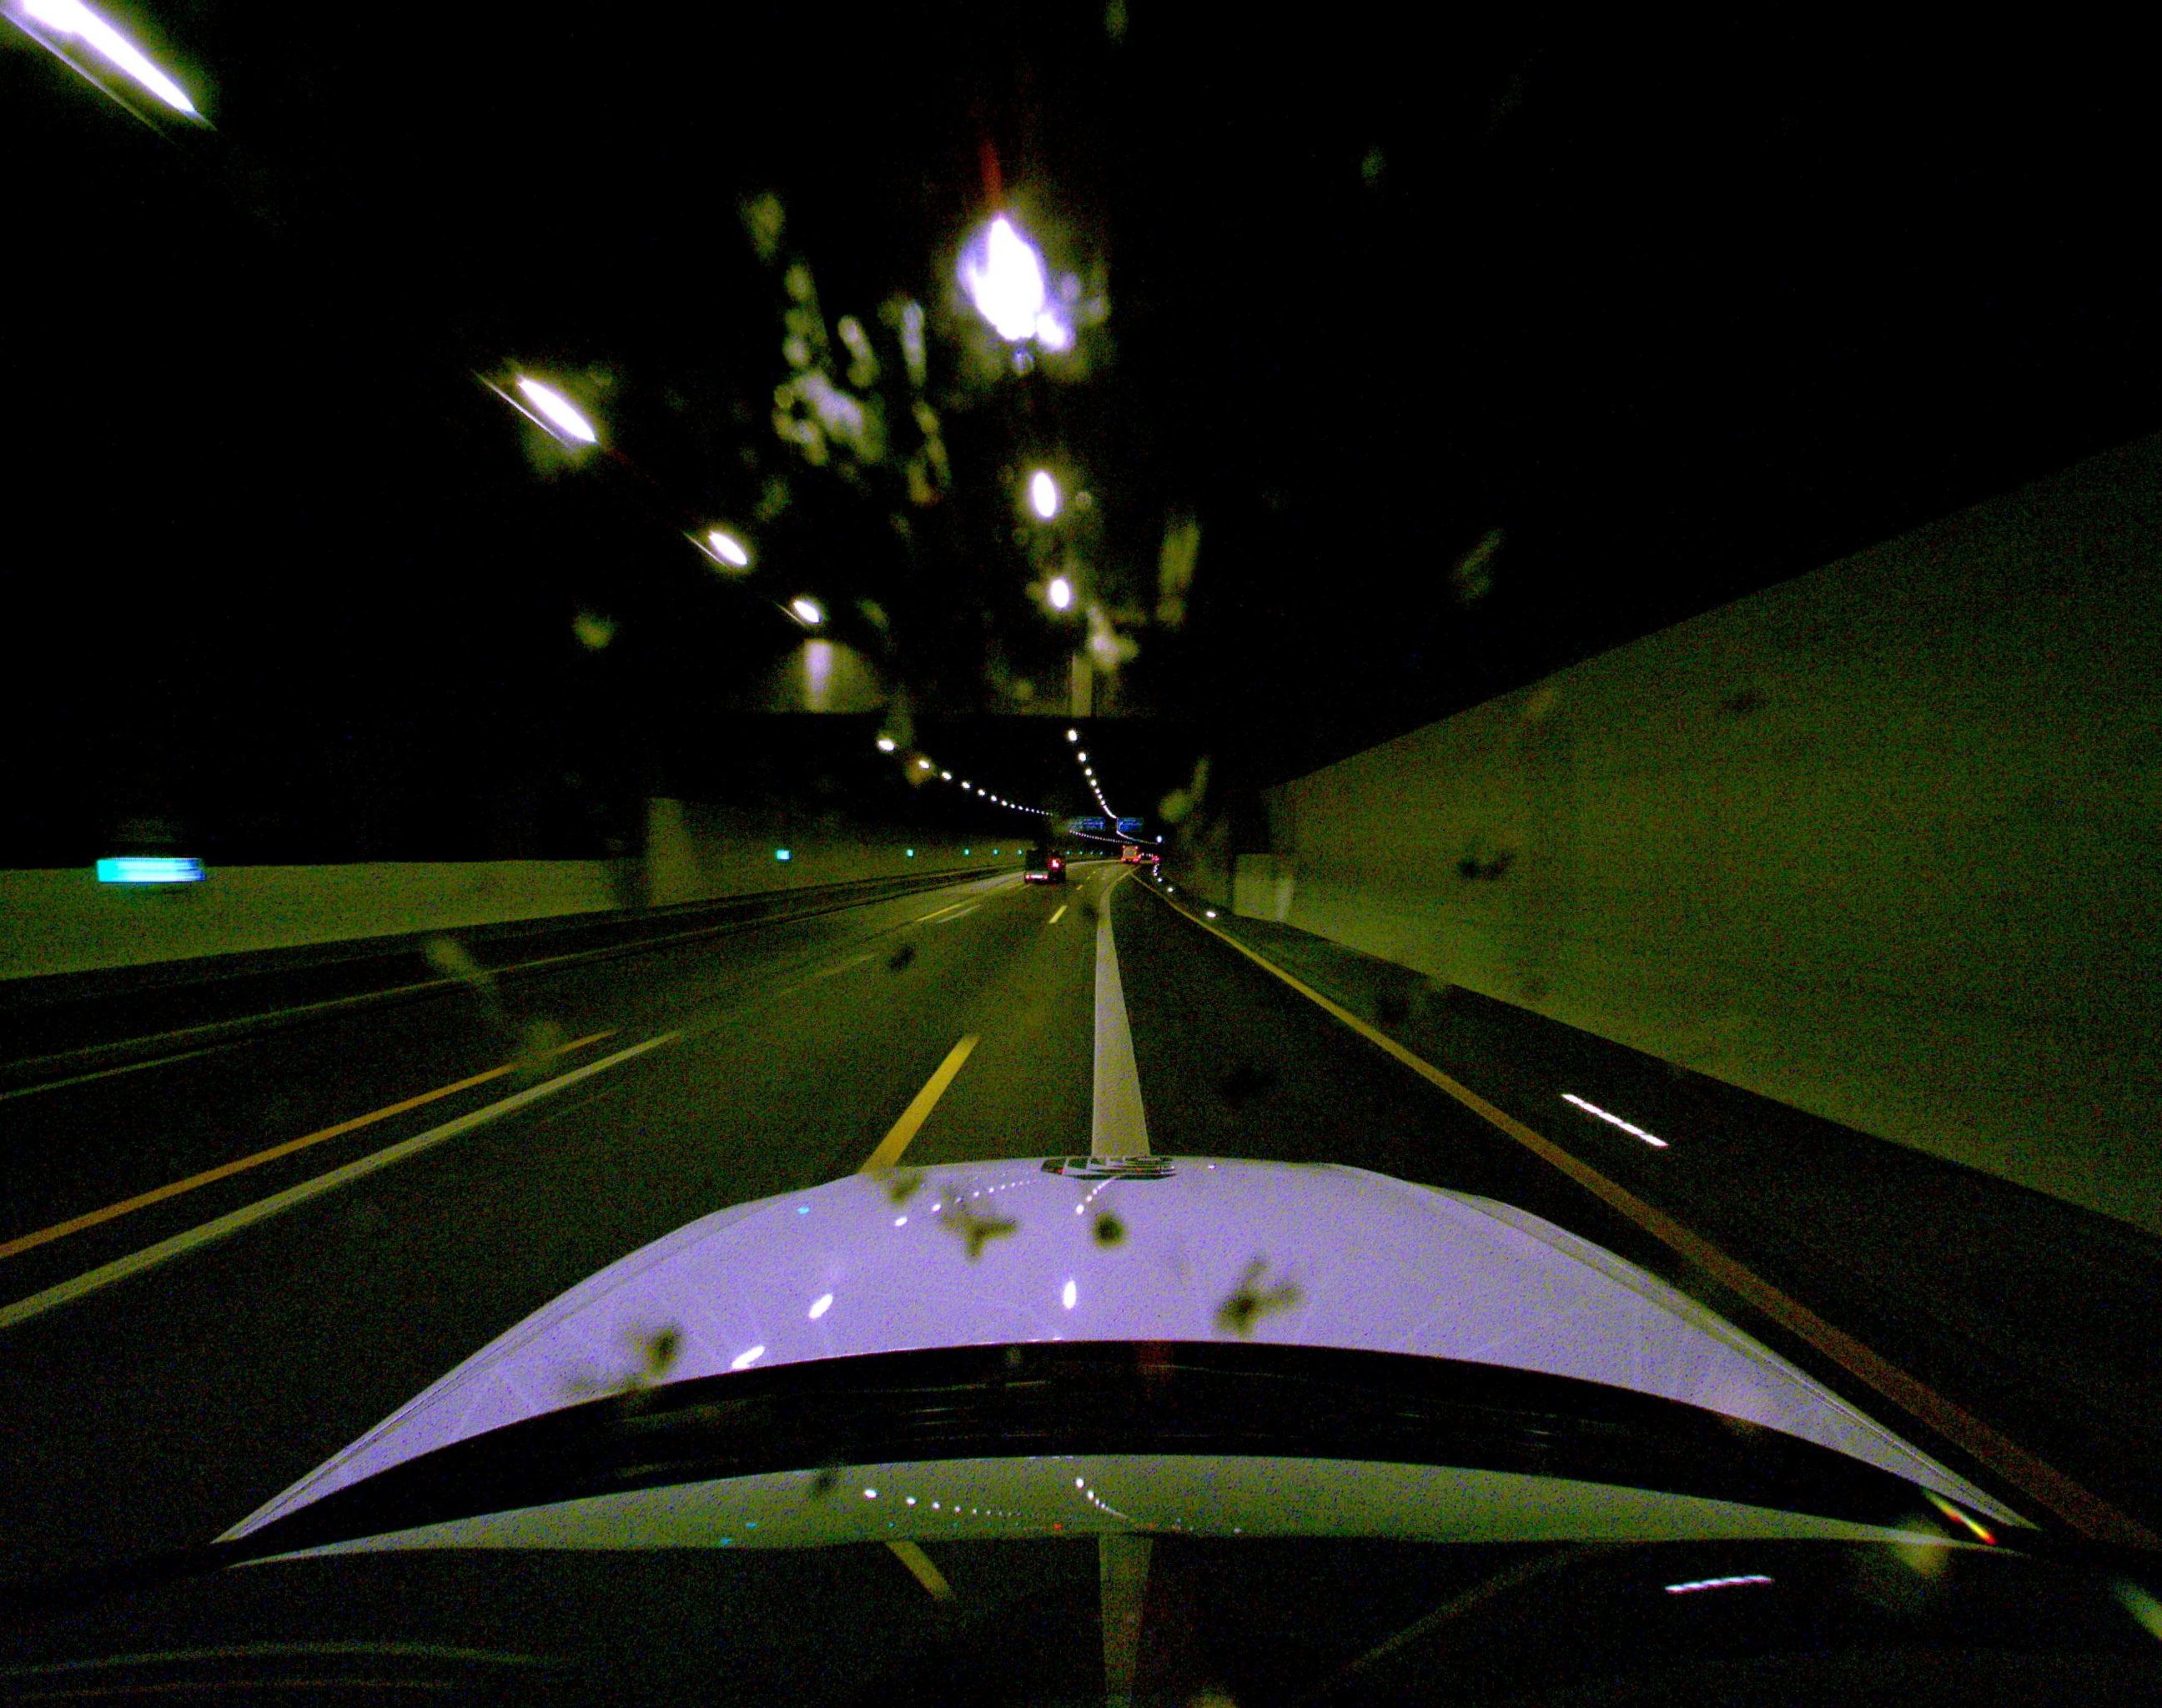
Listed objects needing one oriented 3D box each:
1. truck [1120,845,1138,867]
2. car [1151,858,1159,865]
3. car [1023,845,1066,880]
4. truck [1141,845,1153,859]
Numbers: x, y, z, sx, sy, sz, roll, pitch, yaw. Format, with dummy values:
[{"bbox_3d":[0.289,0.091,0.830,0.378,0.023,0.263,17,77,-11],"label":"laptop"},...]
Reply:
[{"bbox_3d":[9.596,0.366,163.017,3.459,4.316,10.962,1,0,4],"label":"truck"},{"bbox_3d":[20.237,1.998,223.069,1.983,1.895,5.543,0,0,7],"label":"car"},{"bbox_3d":[-2.046,0.562,47.594,1.985,1.895,5.456,0,-2,3],"label":"car"},{"bbox_3d":[20.942,-0.790,259.151,3.461,4.316,10.957,-1,0,2],"label":"truck"}]
